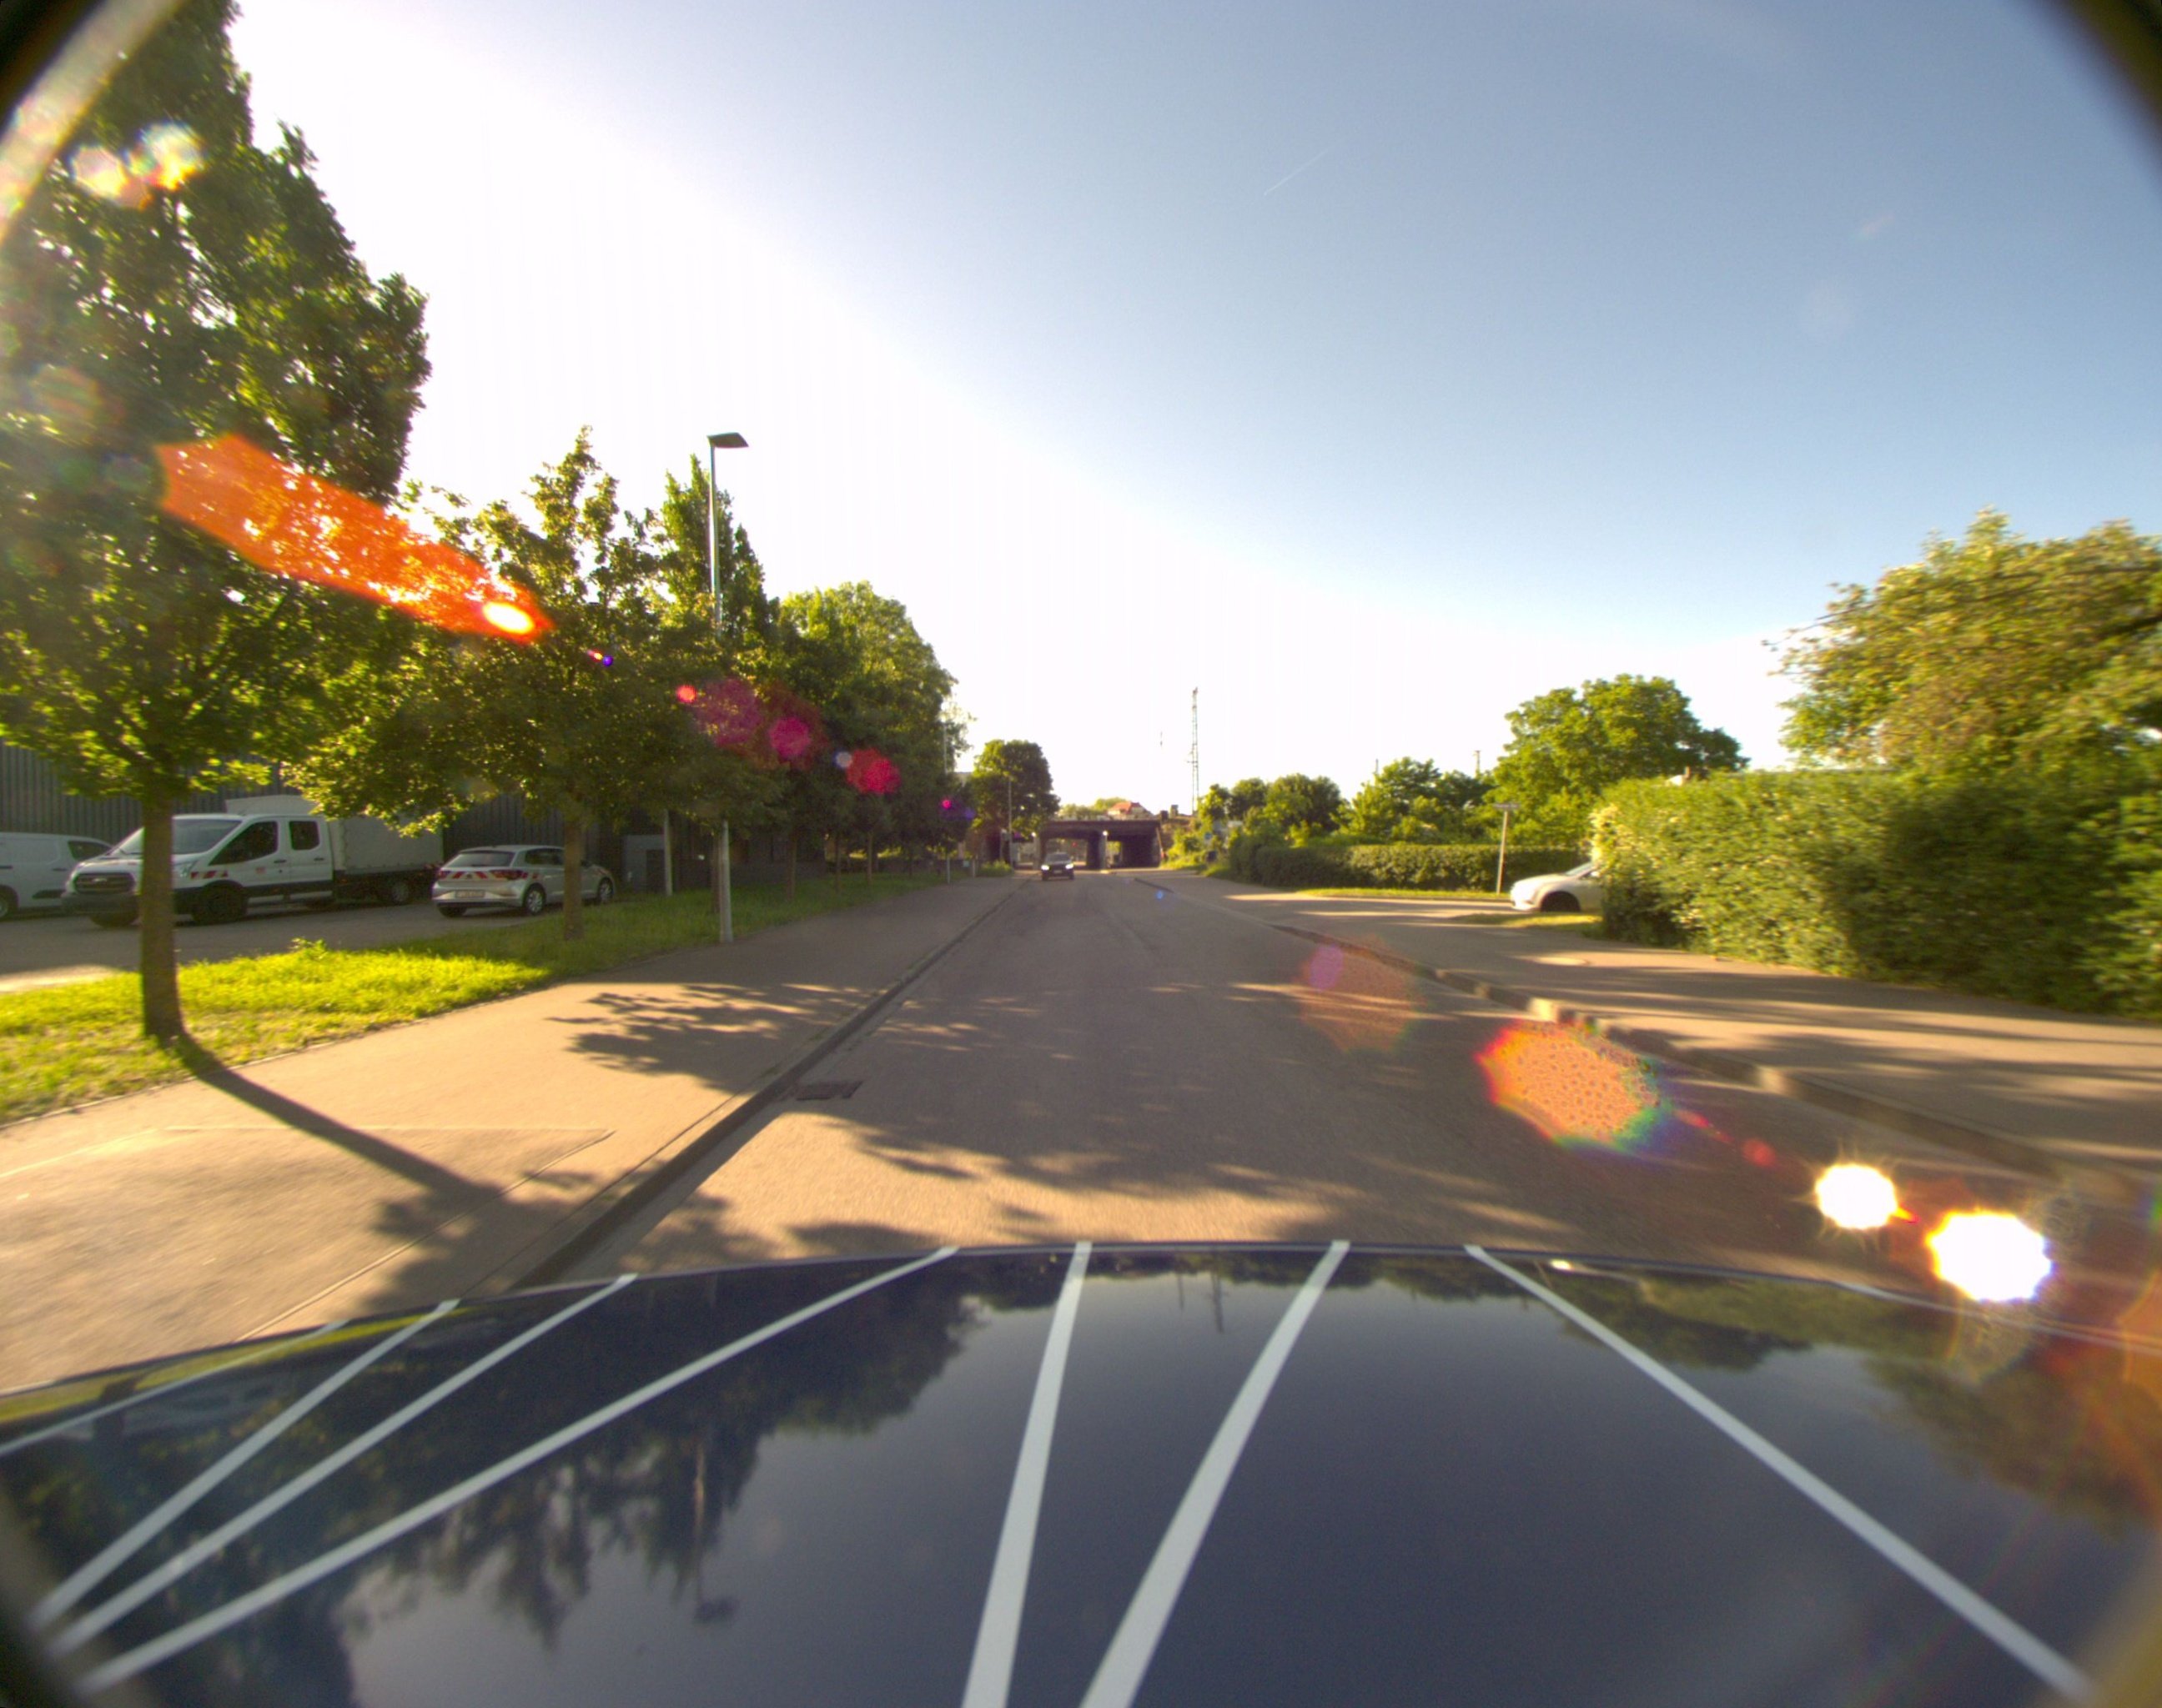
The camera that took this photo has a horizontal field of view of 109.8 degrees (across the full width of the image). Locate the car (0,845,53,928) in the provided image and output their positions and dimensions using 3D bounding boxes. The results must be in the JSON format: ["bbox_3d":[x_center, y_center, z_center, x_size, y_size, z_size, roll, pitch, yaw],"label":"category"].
[{"bbox_3d":[-24.705,0.744,15.457,1.840,1.832,4.276,0,1,-4],"label":"car"}]

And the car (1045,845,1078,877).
[{"bbox_3d":[-1.174,0.415,48.148,1.941,1.922,4.523,-1,0,0],"label":"car"}]

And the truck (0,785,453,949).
[{"bbox_3d":[-17.222,0.152,16.172,2.287,2.662,6.398,-4,2,-1],"label":"truck"}]

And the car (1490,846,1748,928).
[{"bbox_3d":[11.281,0.714,16.342,4.214,1.482,1.879,-3,2,25],"label":"car"}]

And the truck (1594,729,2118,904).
[{"bbox_3d":[19.371,-0.805,20.147,9.311,3.862,2.715,-1,3,28],"label":"truck"}]

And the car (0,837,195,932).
[{"bbox_3d":[-22.296,0.572,16.229,1.840,1.863,4.276,0,1,-4],"label":"car"}]

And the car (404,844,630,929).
[{"bbox_3d":[-12.010,0.586,16.615,1.840,1.458,4.276,-4,2,-4],"label":"car"}]
